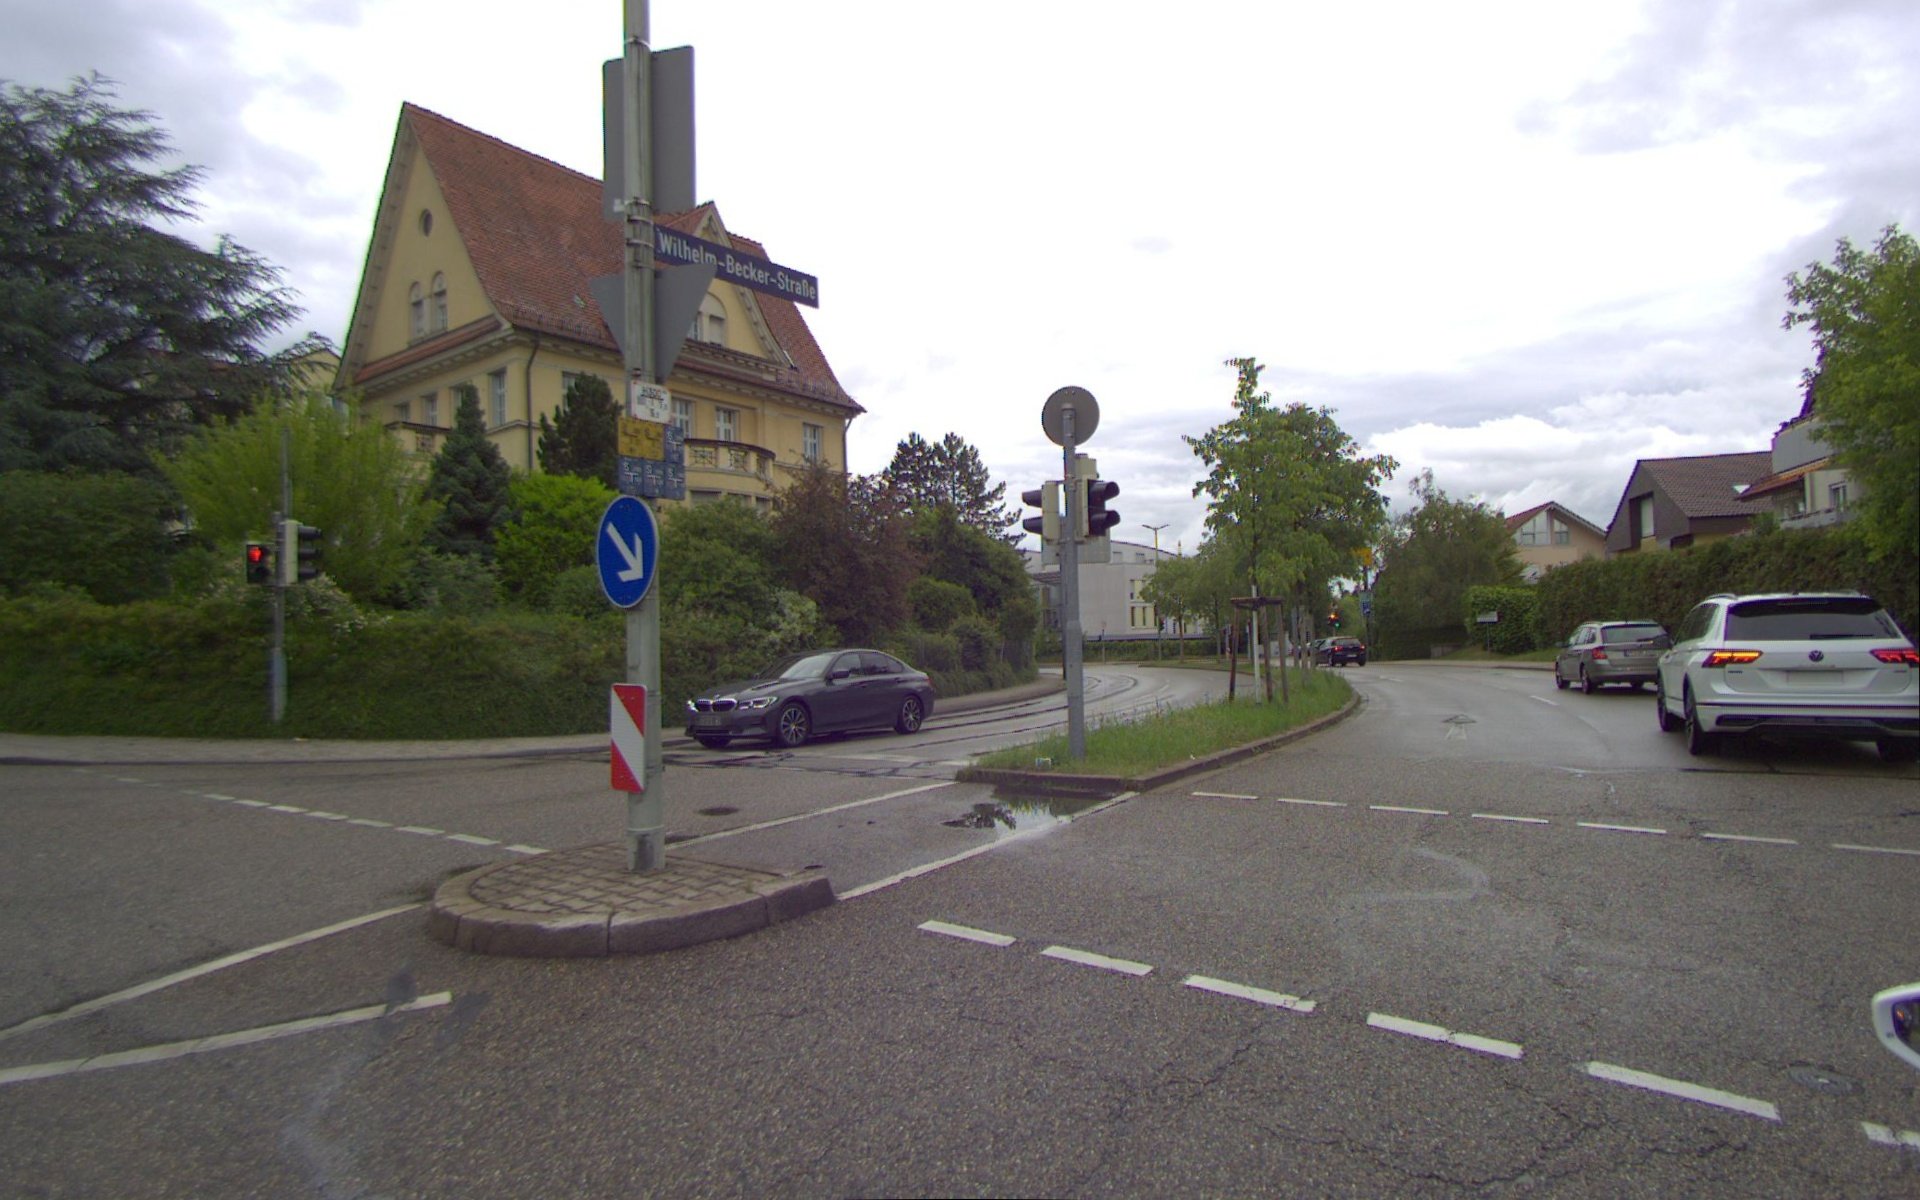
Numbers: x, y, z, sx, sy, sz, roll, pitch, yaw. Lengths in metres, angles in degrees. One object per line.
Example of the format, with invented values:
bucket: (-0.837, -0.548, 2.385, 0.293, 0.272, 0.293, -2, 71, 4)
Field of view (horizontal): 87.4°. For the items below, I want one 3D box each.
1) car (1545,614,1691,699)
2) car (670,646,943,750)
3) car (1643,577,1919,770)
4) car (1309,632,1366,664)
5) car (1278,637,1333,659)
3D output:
car: (13.882, 1.111, 21.440, 1.769, 1.610, 3.925, 0, 0, 20)
car: (-2.247, 1.465, 15.903, 1.747, 1.411, 4.423, -3, -4, 34)
car: (8.931, 0.747, 11.188, 1.737, 1.718, 4.266, -2, -3, 29)
car: (19.239, 2.484, 51.350, 1.730, 1.498, 4.004, -1, -4, 5)
car: (29.087, 4.027, 84.584, 3.998, 1.546, 1.730, -4, -1, 7)
